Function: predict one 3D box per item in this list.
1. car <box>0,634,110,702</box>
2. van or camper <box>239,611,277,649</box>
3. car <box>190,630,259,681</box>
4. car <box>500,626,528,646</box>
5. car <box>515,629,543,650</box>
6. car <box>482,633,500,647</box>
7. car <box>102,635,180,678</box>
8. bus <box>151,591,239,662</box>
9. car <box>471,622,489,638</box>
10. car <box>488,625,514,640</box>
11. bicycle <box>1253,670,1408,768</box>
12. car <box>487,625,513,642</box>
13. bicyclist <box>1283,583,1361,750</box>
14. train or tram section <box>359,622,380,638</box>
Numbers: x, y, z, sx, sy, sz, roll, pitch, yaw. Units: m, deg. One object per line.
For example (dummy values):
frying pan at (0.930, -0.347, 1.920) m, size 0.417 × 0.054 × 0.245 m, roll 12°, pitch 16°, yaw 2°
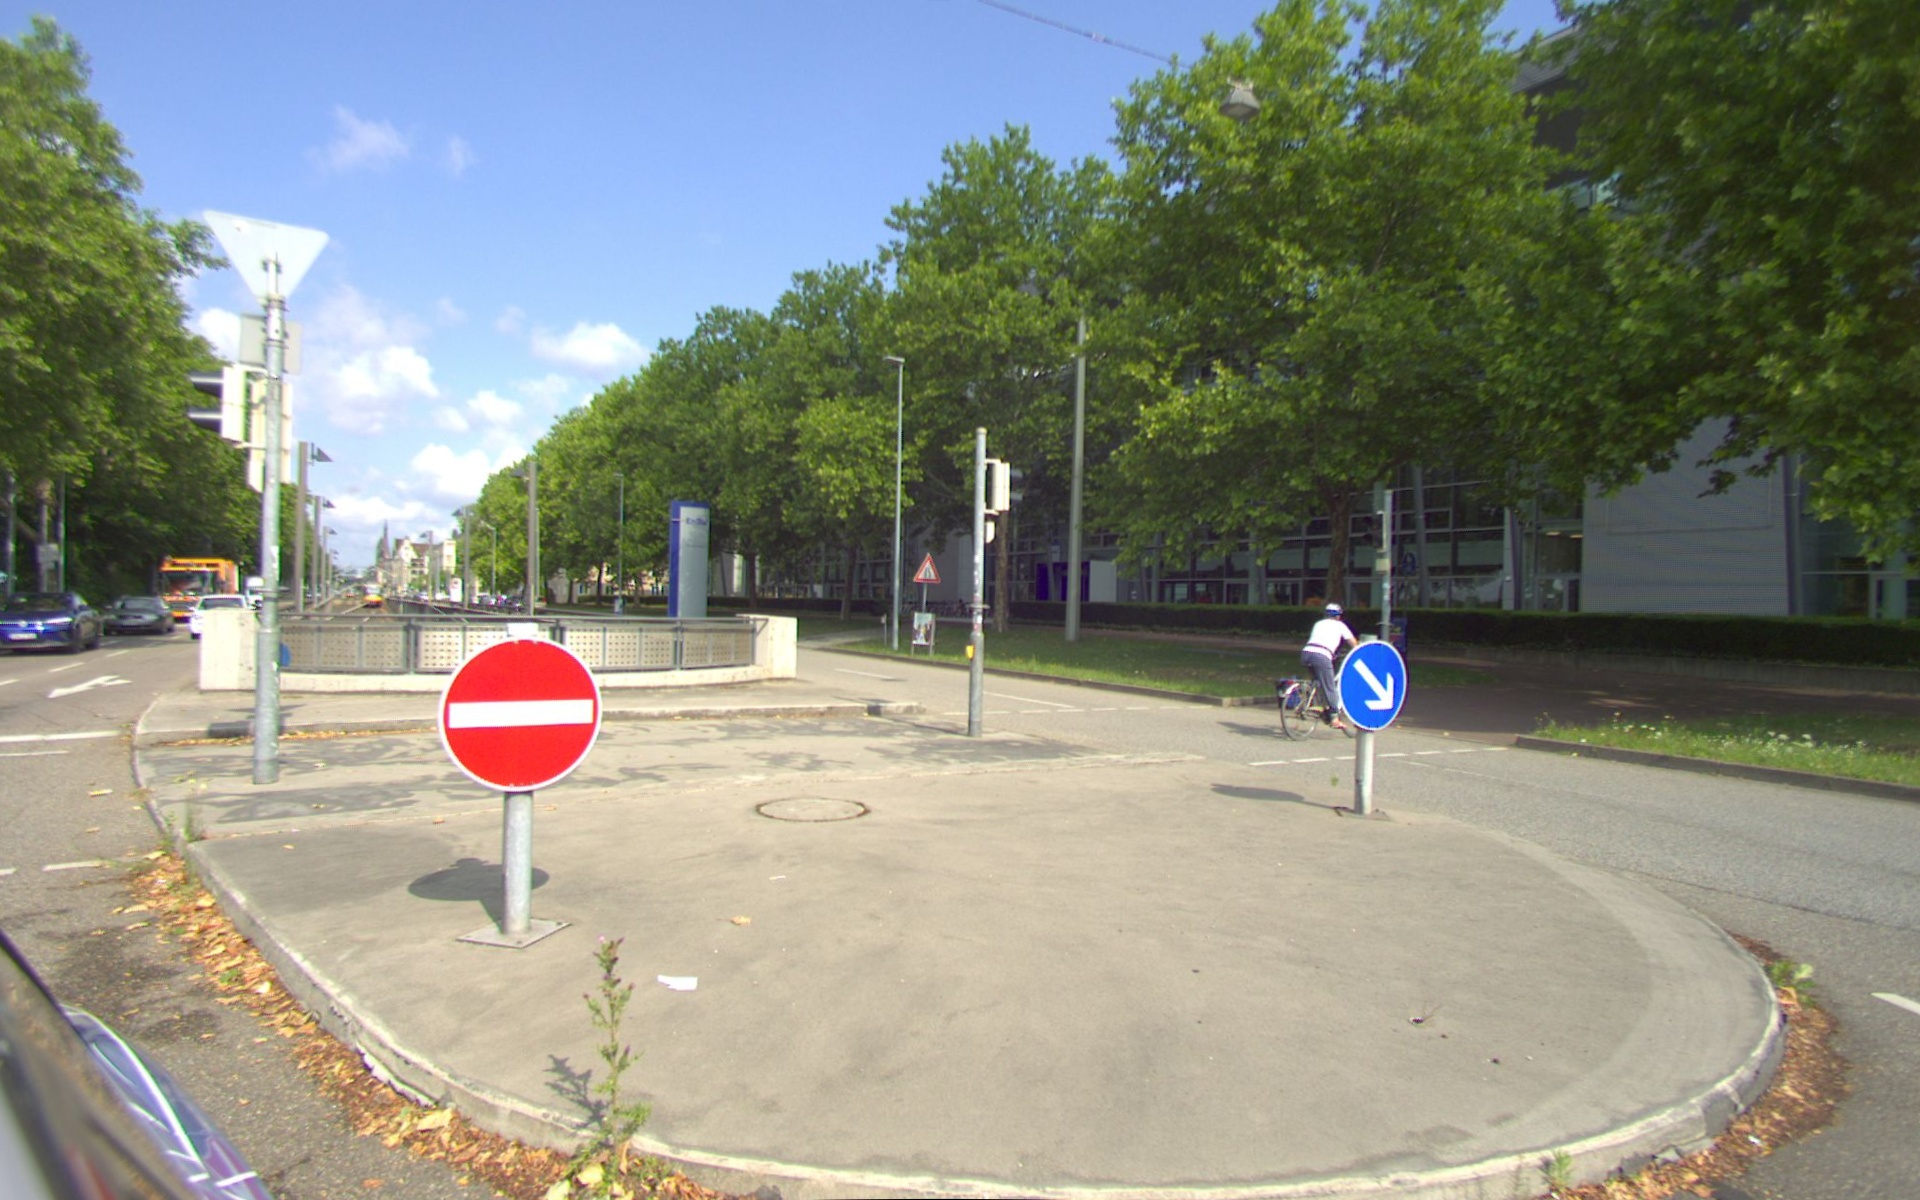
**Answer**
car at (-24.008, 1.727, 26.599) m, size 1.860 × 1.587 × 4.593 m, roll -1°, pitch -1°, yaw -31°
van or camper at (-54.980, 2.348, 79.338) m, size 2.128 × 2.807 × 5.982 m, roll 1°, pitch -2°, yaw -32°
car at (-25.505, 1.893, 35.183) m, size 1.709 × 1.497 × 3.612 m, roll -3°, pitch 1°, yaw -33°
car at (-35.546, 2.856, 80.562) m, size 1.556 × 1.445 × 3.166 m, roll 3°, pitch -3°, yaw -31°
car at (-31.805, 2.881, 74.663) m, size 1.397 × 1.467 × 3.166 m, roll 3°, pitch -3°, yaw -31°
car at (-41.709, 3.540, 90.004) m, size 1.161 × 1.253 × 2.556 m, roll 2°, pitch -2°, yaw -32°
car at (-30.938, 2.093, 38.324) m, size 1.742 × 1.475 × 4.012 m, roll 1°, pitch -2°, yaw -31°
bus at (-41.054, 1.411, 54.596) m, size 2.700 × 3.492 × 10.425 m, roll 1°, pitch -2°, yaw -31°
car at (-44.262, 2.782, 93.346) m, size 1.148 × 1.387 × 2.753 m, roll 3°, pitch -3°, yaw -31°
car at (-39.129, 2.777, 86.239) m, size 1.585 × 1.215 × 3.137 m, roll 3°, pitch -3°, yaw -32°
bicycle at (4.777, 1.475, 12.987) m, size 2.146 × 1.094 × 0.888 m, roll 2°, pitch -3°, yaw -38°
car at (-39.235, 2.817, 86.324) m, size 1.554 × 1.387 × 3.907 m, roll 3°, pitch -3°, yaw -31°
bicyclist at (4.547, 0.824, 12.714) m, size 0.719 × 2.029 × 0.605 m, roll 4°, pitch -3°, yaw -38°
train or tram section at (-90.333, 4.549, 154.761) m, size 2.181 × 2.477 × 6.263 m, roll 1°, pitch -2°, yaw -36°
